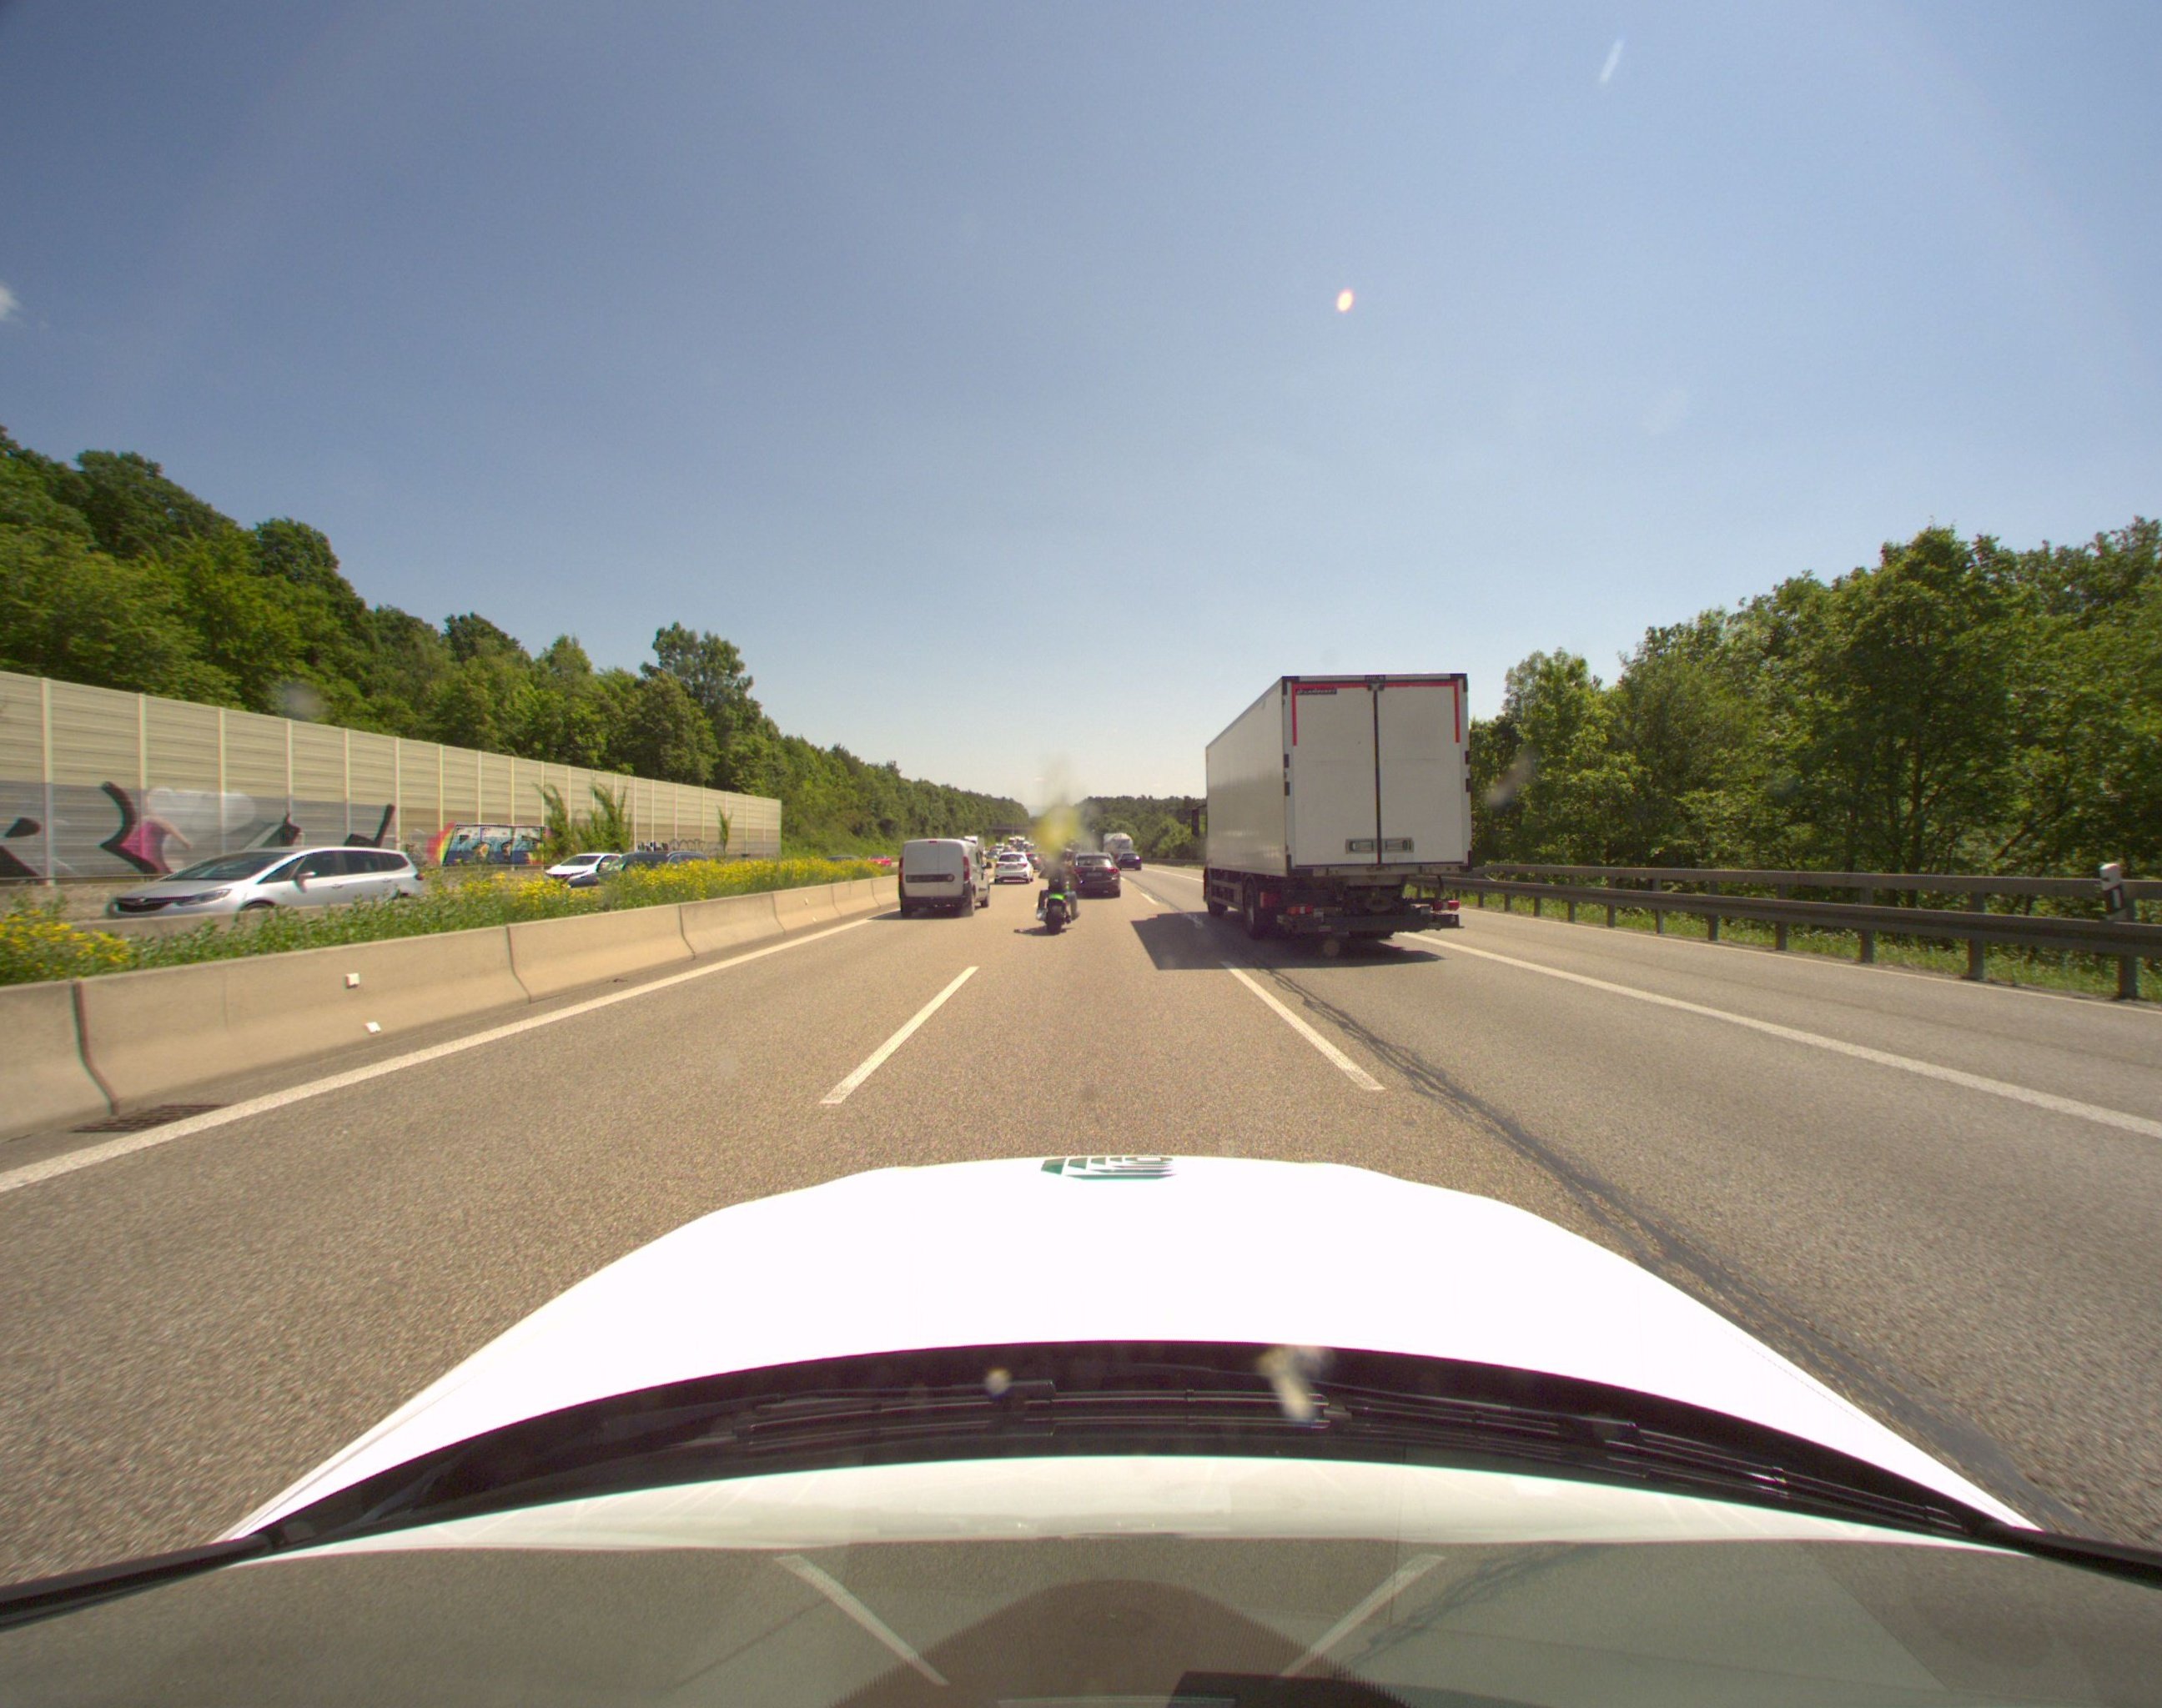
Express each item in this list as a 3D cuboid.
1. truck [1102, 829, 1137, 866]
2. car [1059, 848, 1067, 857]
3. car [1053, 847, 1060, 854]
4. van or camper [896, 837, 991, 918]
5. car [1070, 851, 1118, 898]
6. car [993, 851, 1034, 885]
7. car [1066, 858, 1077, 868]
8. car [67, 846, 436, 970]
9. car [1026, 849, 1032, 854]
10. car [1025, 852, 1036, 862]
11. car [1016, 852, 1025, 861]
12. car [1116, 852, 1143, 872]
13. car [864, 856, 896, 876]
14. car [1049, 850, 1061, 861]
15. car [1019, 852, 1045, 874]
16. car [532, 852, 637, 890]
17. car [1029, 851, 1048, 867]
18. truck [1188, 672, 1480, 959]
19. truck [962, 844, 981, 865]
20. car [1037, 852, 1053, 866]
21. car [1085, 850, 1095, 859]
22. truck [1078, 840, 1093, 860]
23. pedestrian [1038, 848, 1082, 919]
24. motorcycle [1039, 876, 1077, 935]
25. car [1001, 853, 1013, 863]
[{"bbox_3d":[3.958,-0.626,85.536,2.980,3.671,9.281,0,-1,-1],"label":"truck"},{"bbox_3d":[-4.220,-0.353,191.751,1.798,2.014,3.995,0,-1,-3],"label":"car"},{"bbox_3d":[-7.215,-0.882,241.169,1.924,2.014,3.998,0,-1,-1],"label":"car"},{"bbox_3d":[-3.443,0.563,21.136,1.791,1.892,4.158,0,-1,-1],"label":"van or camper"},{"bbox_3d":[0.488,0.651,28.016,1.527,1.510,4.002,0,0,2],"label":"car"},{"bbox_3d":[-3.237,0.644,39.547,1.695,1.478,3.998,2,0,-2],"label":"car"},{"bbox_3d":[-1.354,1.290,117.854,1.388,1.463,2.779,0,0,1],"label":"car"},{"bbox_3d":[-14.581,0.852,14.809,1.986,1.899,4.507,0,-1,2],"label":"car"},{"bbox_3d":[-15.297,-0.658,239.577,1.705,1.538,4.129,0,0,1],"label":"car"},{"bbox_3d":[-9.787,0.556,158.628,1.988,2.014,3.998,0,-1,-1],"label":"car"},{"bbox_3d":[-13.428,0.573,180.375,1.759,2.013,3.996,0,0,-3],"label":"car"},{"bbox_3d":[3.856,0.661,65.680,1.824,1.470,3.998,2,0,-1],"label":"car"},{"bbox_3d":[-17.770,1.041,72.129,1.733,1.640,4.188,0,-1,1],"label":"car"},{"bbox_3d":[-4.646,0.218,145.769,1.875,1.859,3.998,2,0,-1],"label":"car"},{"bbox_3d":[-3.604,0.663,60.573,1.695,1.478,3.998,2,0,-2],"label":"car"},{"bbox_3d":[-20.745,0.655,34.255,1.624,1.482,4.314,0,0,2],"label":"car"},{"bbox_3d":[-4.263,0.510,82.373,1.695,1.478,3.998,2,0,-2],"label":"car"},{"bbox_3d":[4.110,-0.537,16.021,2.679,3.876,9.779,-1,0,0],"label":"truck"},{"bbox_3d":[-20.278,0.147,151.070,2.806,3.908,7.309,0,-1,-2],"label":"truck"},{"bbox_3d":[-4.145,0.578,93.277,1.695,1.478,3.998,2,0,-2],"label":"car"},{"bbox_3d":[1.674,0.064,157.726,1.782,1.555,3.801,2,0,-2],"label":"car"},{"bbox_3d":[1.075,-0.908,192.950,3.025,4.542,9.977,3,0,-1],"label":"truck"},{"bbox_3d":[-0.401,0.571,16.132,0.846,1.362,0.961,0,0,-1],"label":"pedestrian"},{"bbox_3d":[-0.423,0.973,15.956,0.689,1.015,2.121,0,0,0],"label":"motorcycle"},{"bbox_3d":[-12.747,0.600,141.036,1.678,1.698,4.657,0,0,0],"label":"car"}]
